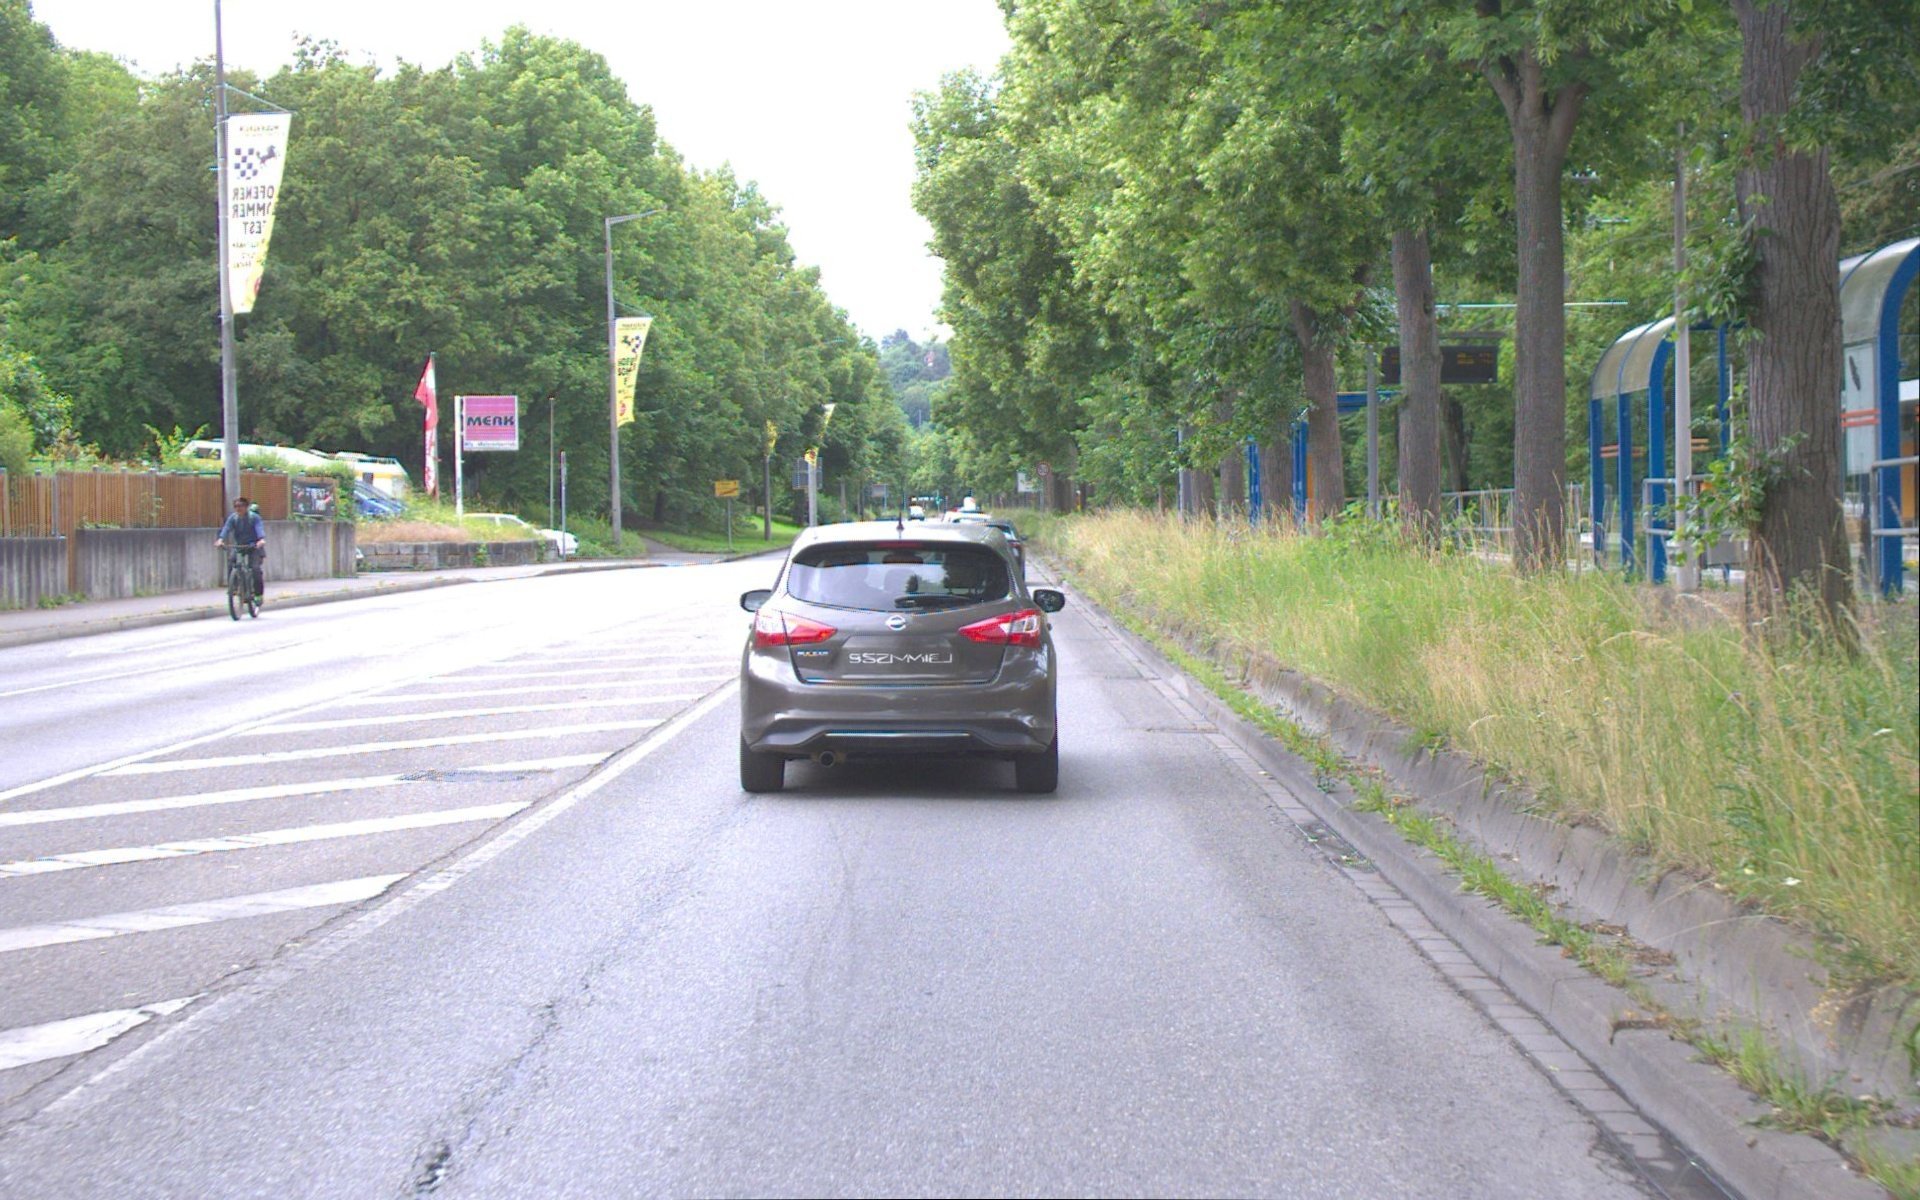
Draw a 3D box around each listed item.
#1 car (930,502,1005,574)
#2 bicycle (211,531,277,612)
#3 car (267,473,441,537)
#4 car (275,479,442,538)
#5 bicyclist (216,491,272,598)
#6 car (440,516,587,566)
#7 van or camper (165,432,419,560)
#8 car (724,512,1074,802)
[{"bbox_3d":[0.183,-1.352,75.707,1.503,1.523,3.671,1,1,2],"label":"car"},{"bbox_3d":[-10.473,-0.425,50.314,0.642,1.141,2.148,1,1,-4],"label":"bicycle"},{"bbox_3d":[-15.451,-2.414,87.720,3.988,1.492,1.859,1,0,5],"label":"car"},{"bbox_3d":[-15.667,-2.387,89.594,3.988,1.406,1.533,1,0,5],"label":"car"},{"bbox_3d":[-10.436,-0.808,50.104,0.642,1.530,0.979,1,1,-4],"label":"bicyclist"},{"bbox_3d":[-14.001,-1.854,107.902,4.374,1.436,1.961,1,1,-2],"label":"car"},{"bbox_3d":[-20.891,-3.251,107.775,7.141,3.359,2.796,5,1,1],"label":"van or camper"},{"bbox_3d":[-0.261,0.271,20.314,1.837,1.523,3.929,1,1,2],"label":"car"}]
